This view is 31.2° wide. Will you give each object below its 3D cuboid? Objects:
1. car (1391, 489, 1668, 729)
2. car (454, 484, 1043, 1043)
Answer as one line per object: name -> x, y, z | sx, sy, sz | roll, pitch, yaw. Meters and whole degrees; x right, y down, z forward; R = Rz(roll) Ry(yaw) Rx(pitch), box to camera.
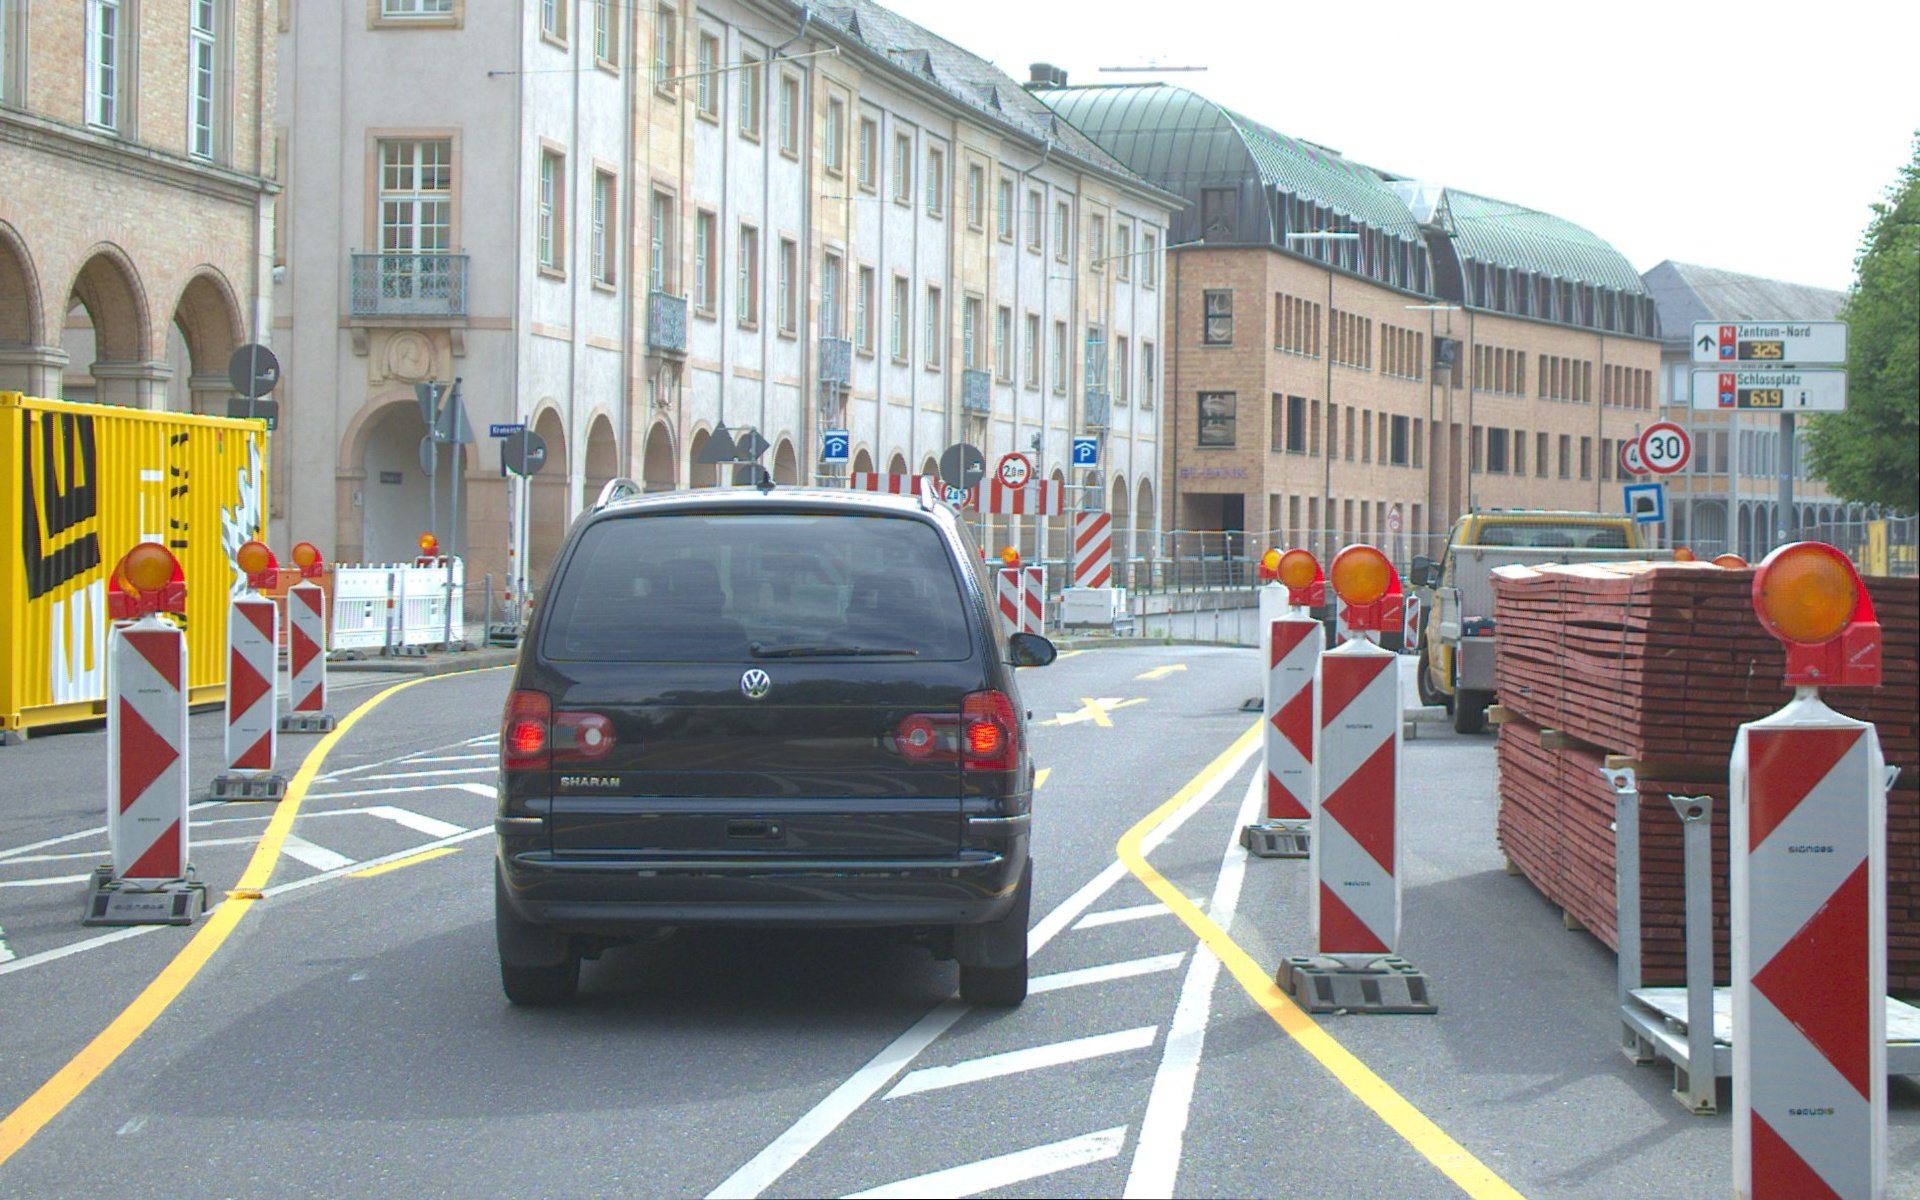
car -> 5.284, 0.009, 32.447 | 1.993, 2.006, 4.345 | 1, 3, 2
car -> -0.649, 0.460, 12.611 | 1.793, 1.702, 4.131 | 0, 1, 0
